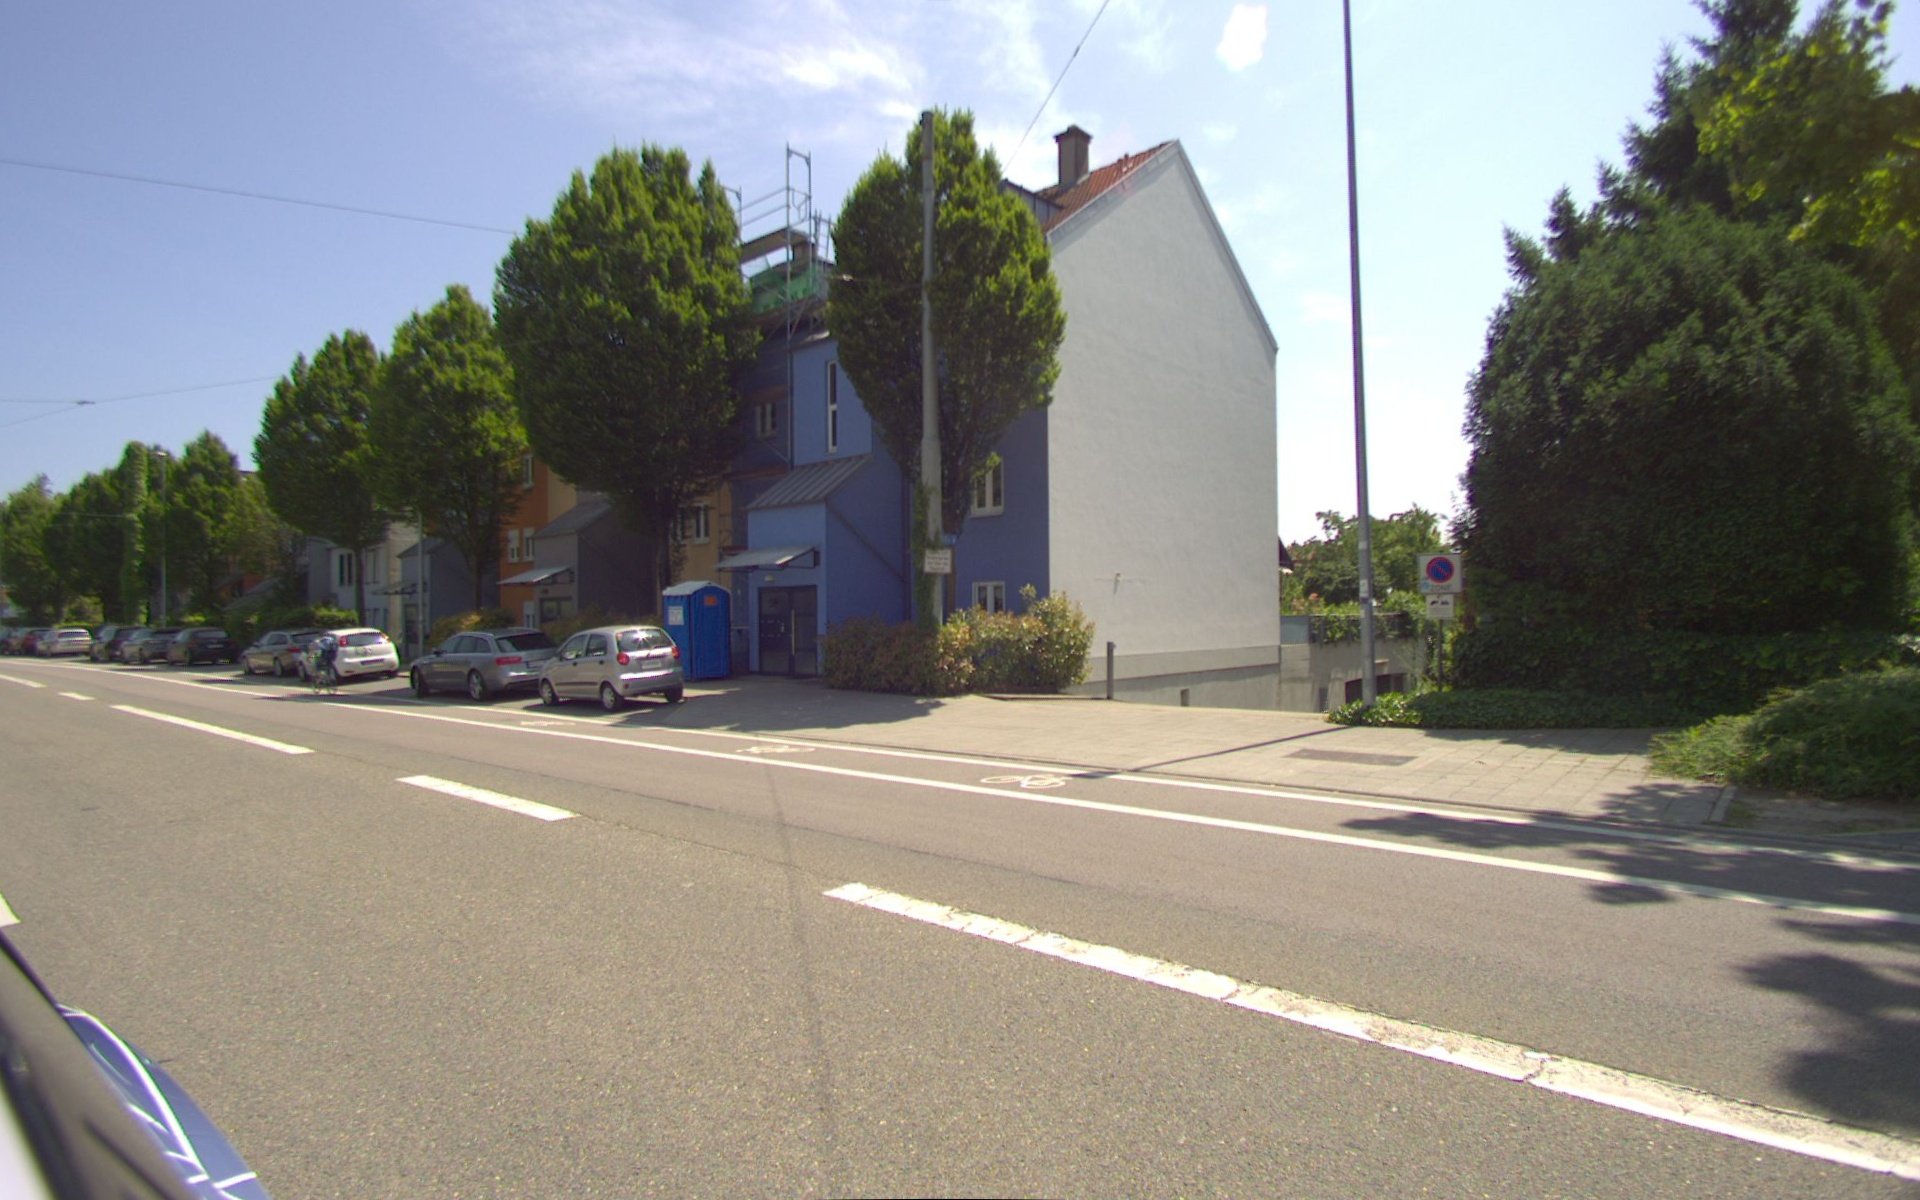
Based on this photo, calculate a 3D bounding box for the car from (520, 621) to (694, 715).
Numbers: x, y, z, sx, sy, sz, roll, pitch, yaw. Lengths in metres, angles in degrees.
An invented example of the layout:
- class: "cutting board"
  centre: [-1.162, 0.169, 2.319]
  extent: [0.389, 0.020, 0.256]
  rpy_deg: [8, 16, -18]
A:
- class: "car"
  centre: [-6.825, 1.248, 19.439]
  extent: [3.447, 1.506, 1.577]
  rpy_deg: [-2, 3, 41]

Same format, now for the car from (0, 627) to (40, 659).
- class: "car"
  centre: [-57.228, 2.550, 60.808]
  extent: [4.548, 1.807, 1.976]
  rpy_deg: [-2, -1, 36]

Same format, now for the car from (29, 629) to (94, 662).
- class: "car"
  centre: [-48.223, 2.443, 54.279]
  extent: [4.490, 1.594, 1.823]
  rpy_deg: [-2, 0, 38]

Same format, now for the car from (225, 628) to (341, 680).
- class: "car"
  centre: [-22.248, 1.759, 33.204]
  extent: [4.744, 1.440, 1.688]
  rpy_deg: [-2, 3, 38]

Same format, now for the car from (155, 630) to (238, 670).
- class: "car"
  centre: [-30.552, 1.973, 40.470]
  extent: [4.254, 1.443, 1.732]
  rpy_deg: [-2, 1, 40]

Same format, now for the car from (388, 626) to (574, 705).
- class: "car"
  centre: [-10.921, 1.438, 22.876]
  extent: [5.129, 1.461, 1.769]
  rpy_deg: [-3, 2, 40]

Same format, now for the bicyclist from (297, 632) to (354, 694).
- class: "bicyclist"
  centre: [-15.046, 1.489, 23.999]
  extent: [1.123, 1.442, 0.728]
  rpy_deg: [-2, -5, 38]

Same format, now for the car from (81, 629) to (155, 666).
- class: "car"
  centre: [-39.342, 2.205, 47.265]
  extent: [4.142, 1.601, 1.750]
  rpy_deg: [-2, 0, 38]

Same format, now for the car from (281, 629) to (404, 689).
- class: "car"
  centre: [-18.127, 1.678, 29.614]
  extent: [4.417, 1.453, 1.729]
  rpy_deg: [-2, 3, 41]

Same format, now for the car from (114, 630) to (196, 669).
- class: "car"
  centre: [-34.768, 2.099, 43.667]
  extent: [4.752, 1.507, 1.807]
  rpy_deg: [-2, 0, 39]

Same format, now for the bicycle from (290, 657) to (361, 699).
- class: "bicycle"
  centre: [-15.064, 1.833, 24.008]
  extent: [2.240, 0.958, 0.695]
  rpy_deg: [-3, -4, 39]

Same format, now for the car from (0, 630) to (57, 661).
- class: "car"
  centre: [-53.073, 2.605, 57.656]
  extent: [3.673, 1.606, 1.586]
  rpy_deg: [-2, 0, 35]
